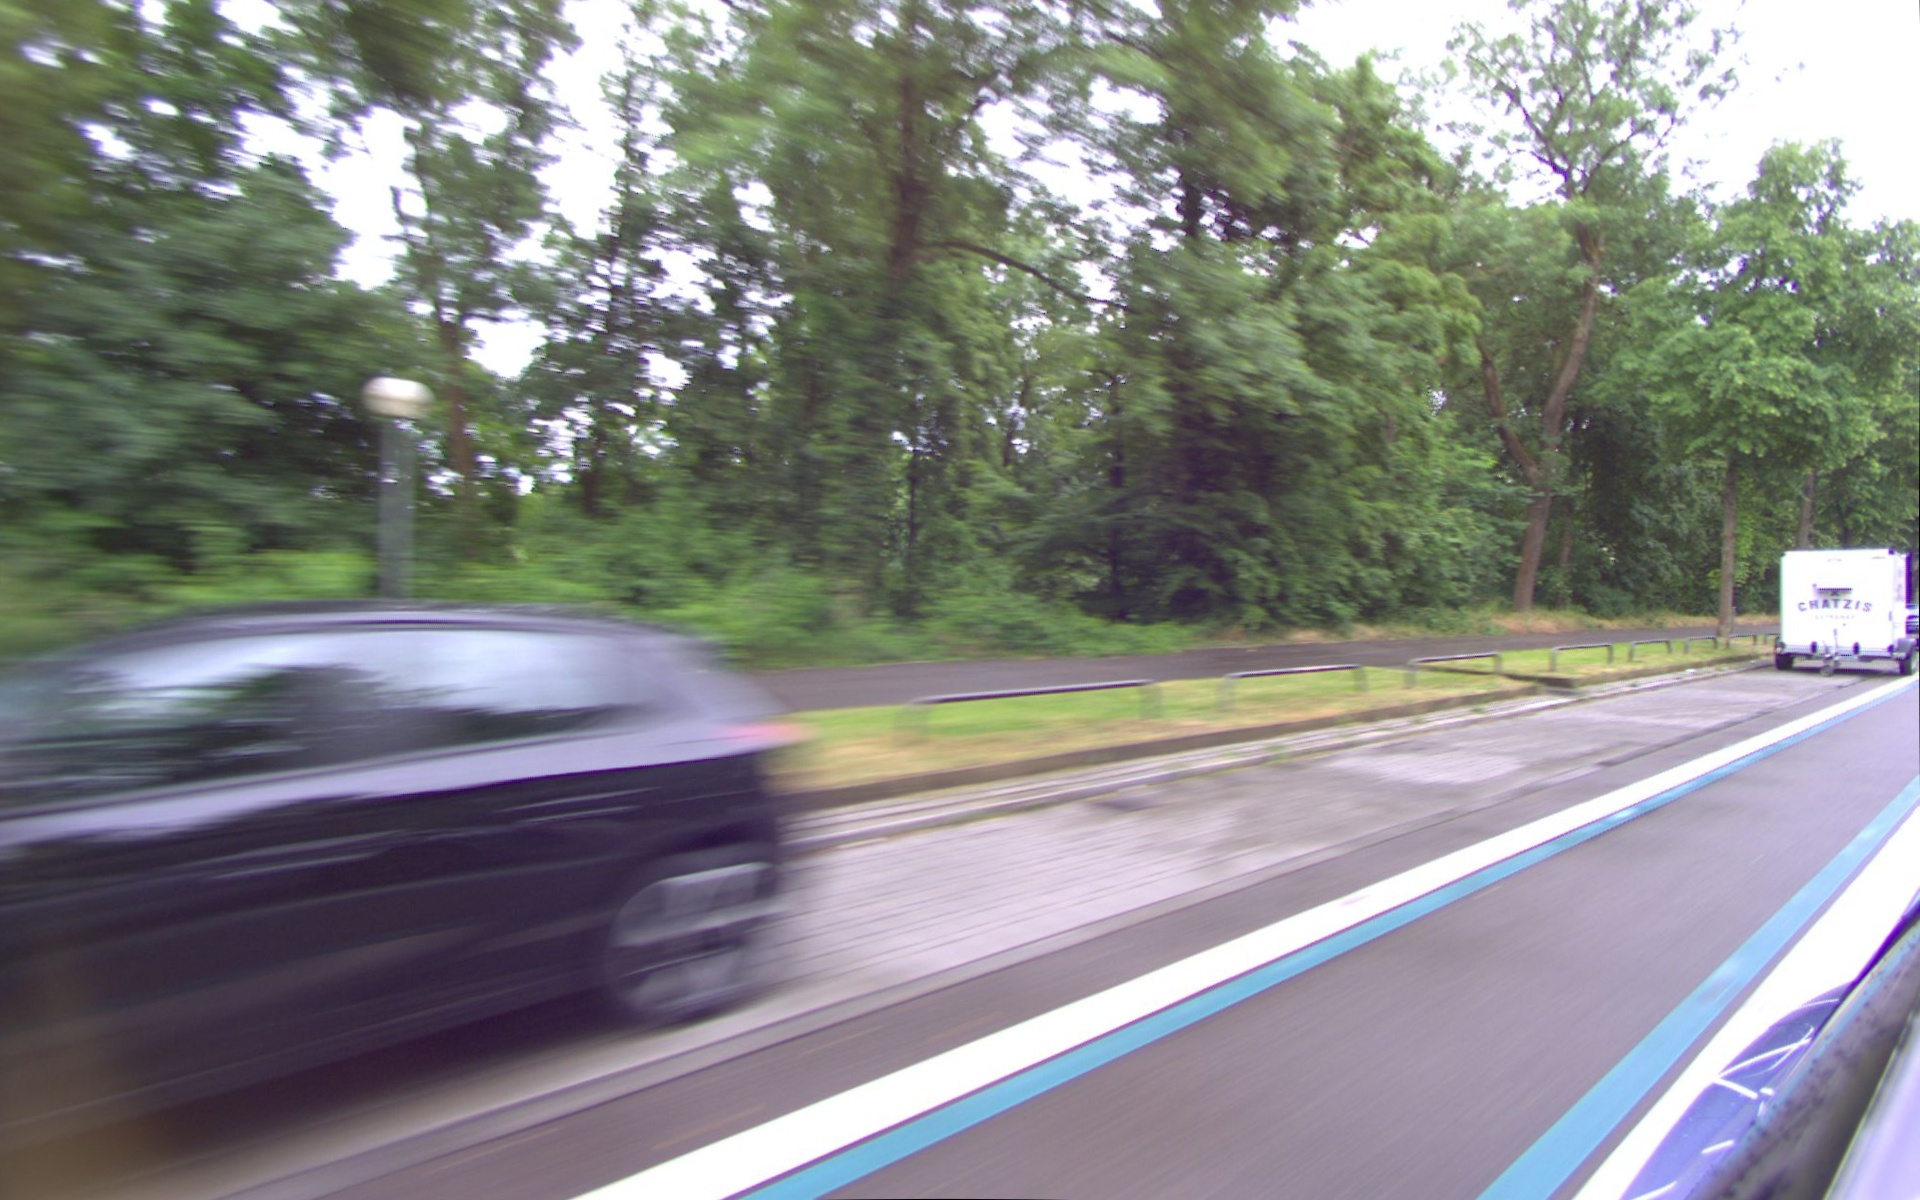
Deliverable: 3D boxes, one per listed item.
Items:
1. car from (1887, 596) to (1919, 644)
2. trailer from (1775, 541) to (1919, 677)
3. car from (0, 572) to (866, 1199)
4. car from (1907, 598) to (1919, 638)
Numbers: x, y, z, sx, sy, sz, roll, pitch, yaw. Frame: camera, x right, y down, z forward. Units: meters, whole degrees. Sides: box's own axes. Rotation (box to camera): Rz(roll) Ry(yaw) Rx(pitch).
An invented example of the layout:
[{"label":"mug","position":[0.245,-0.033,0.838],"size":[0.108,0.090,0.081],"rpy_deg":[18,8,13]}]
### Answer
[{"label":"car","position":[31.568,0.644,32.836],"size":[3.931,1.482,1.802],"rpy_deg":[0,1,-42]},{"label":"trailer","position":[19.262,0.133,21.456],"size":[3.928,2.597,2.284],"rpy_deg":[0,1,-39]},{"label":"car","position":[-2.373,0.672,3.174],"size":[3.930,1.495,1.697],"rpy_deg":[0,1,-43]},{"label":"car","position":[36.006,0.658,36.891],"size":[3.931,1.395,1.802],"rpy_deg":[0,1,-42]}]
